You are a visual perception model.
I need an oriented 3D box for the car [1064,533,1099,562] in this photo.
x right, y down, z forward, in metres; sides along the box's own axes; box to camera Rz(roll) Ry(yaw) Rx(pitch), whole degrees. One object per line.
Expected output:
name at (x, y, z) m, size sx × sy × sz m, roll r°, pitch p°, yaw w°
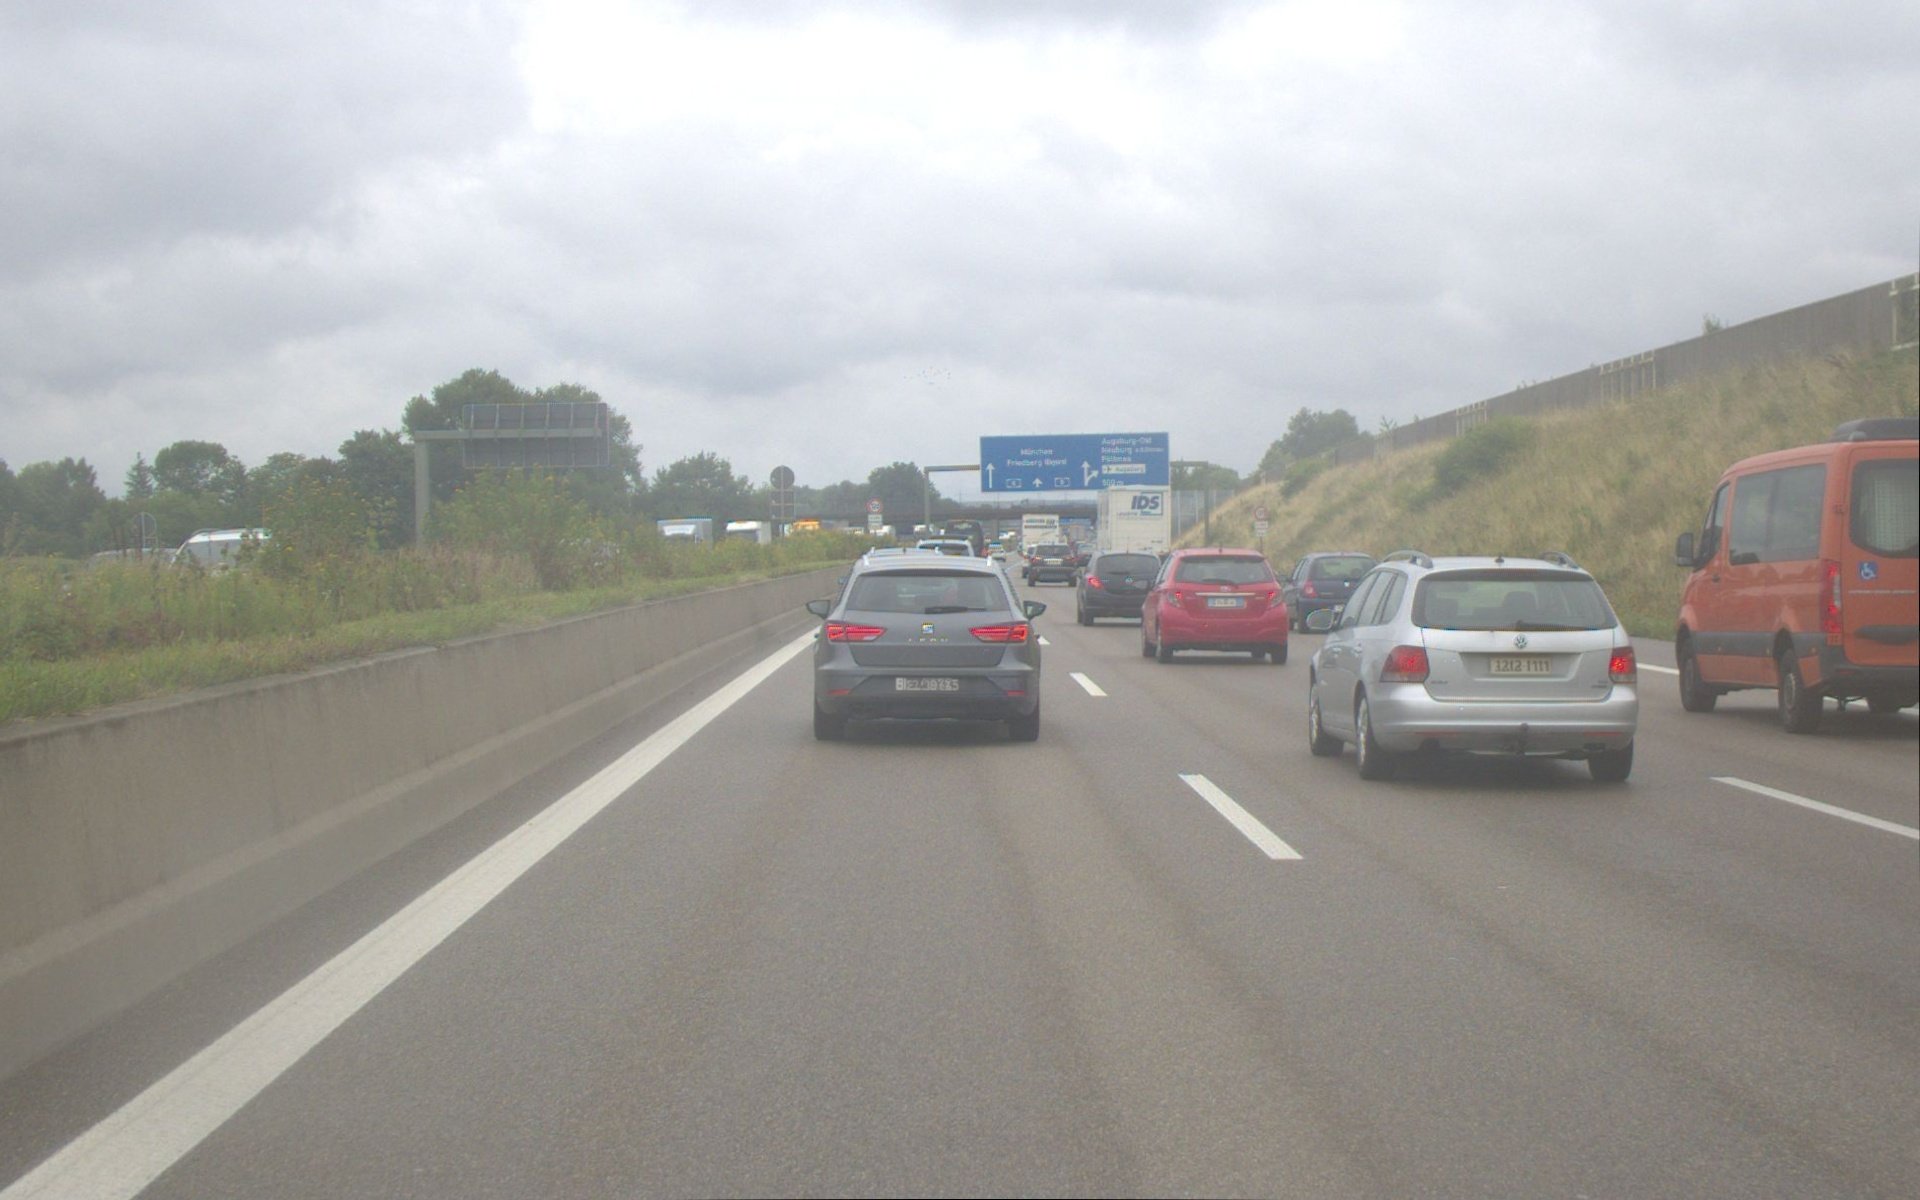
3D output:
car at (7.854, -3.402, 222.235) m, size 1.993 × 1.853 × 4.391 m, roll -1°, pitch 1°, yaw -1°

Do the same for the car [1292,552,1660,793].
car at (3.362, 0.411, 23.203) m, size 1.742 × 1.420 × 4.517 m, roll -1°, pitch 1°, yaw -1°

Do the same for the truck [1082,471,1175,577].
truck at (7.228, -3.227, 150.335) m, size 3.283 × 4.280 × 19.033 m, roll 1°, pitch 1°, yaw 1°

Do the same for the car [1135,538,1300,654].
car at (3.380, -0.090, 45.891) m, size 1.891 × 1.442 × 4.685 m, roll 0°, pitch 1°, yaw 1°

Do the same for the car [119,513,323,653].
car at (-10.344, -0.270, 48.450) m, size 1.819 × 1.831 × 4.801 m, roll -1°, pitch 1°, yaw 0°

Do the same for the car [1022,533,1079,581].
car at (3.260, -1.547, 124.103) m, size 1.845 × 1.681 × 4.000 m, roll 1°, pitch 1°, yaw -1°

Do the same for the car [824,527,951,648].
car at (-1.061, -0.208, 51.991) m, size 1.754 × 1.744 × 4.000 m, roll 1°, pitch 1°, yaw 1°

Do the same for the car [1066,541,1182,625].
car at (3.100, -0.346, 65.812) m, size 1.921 × 1.516 × 4.622 m, roll 0°, pitch 1°, yaw -1°

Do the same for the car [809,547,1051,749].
car at (-0.214, 0.332, 27.255) m, size 1.768 × 1.462 × 4.000 m, roll 1°, pitch 1°, yaw 0°

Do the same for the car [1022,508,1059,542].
car at (4.773, -4.445, 203.778) m, size 1.993 × 2.007 × 4.000 m, roll -1°, pitch 1°, yaw -1°

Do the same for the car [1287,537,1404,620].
car at (6.802, -0.388, 61.008) m, size 1.702 × 1.396 × 3.875 m, roll 1°, pitch 1°, yaw 1°

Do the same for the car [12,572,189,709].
car at (-13.651, 0.609, 54.791) m, size 1.792 × 2.007 × 4.000 m, roll -1°, pitch 1°, yaw 0°

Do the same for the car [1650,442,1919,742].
car at (7.670, -0.131, 29.537) m, size 2.085 × 2.307 × 6.182 m, roll 0°, pitch 1°, yaw -1°

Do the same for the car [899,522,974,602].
car at (-0.551, -0.923, 82.110) m, size 1.704 × 1.790 × 3.855 m, roll -2°, pitch 1°, yaw 0°
